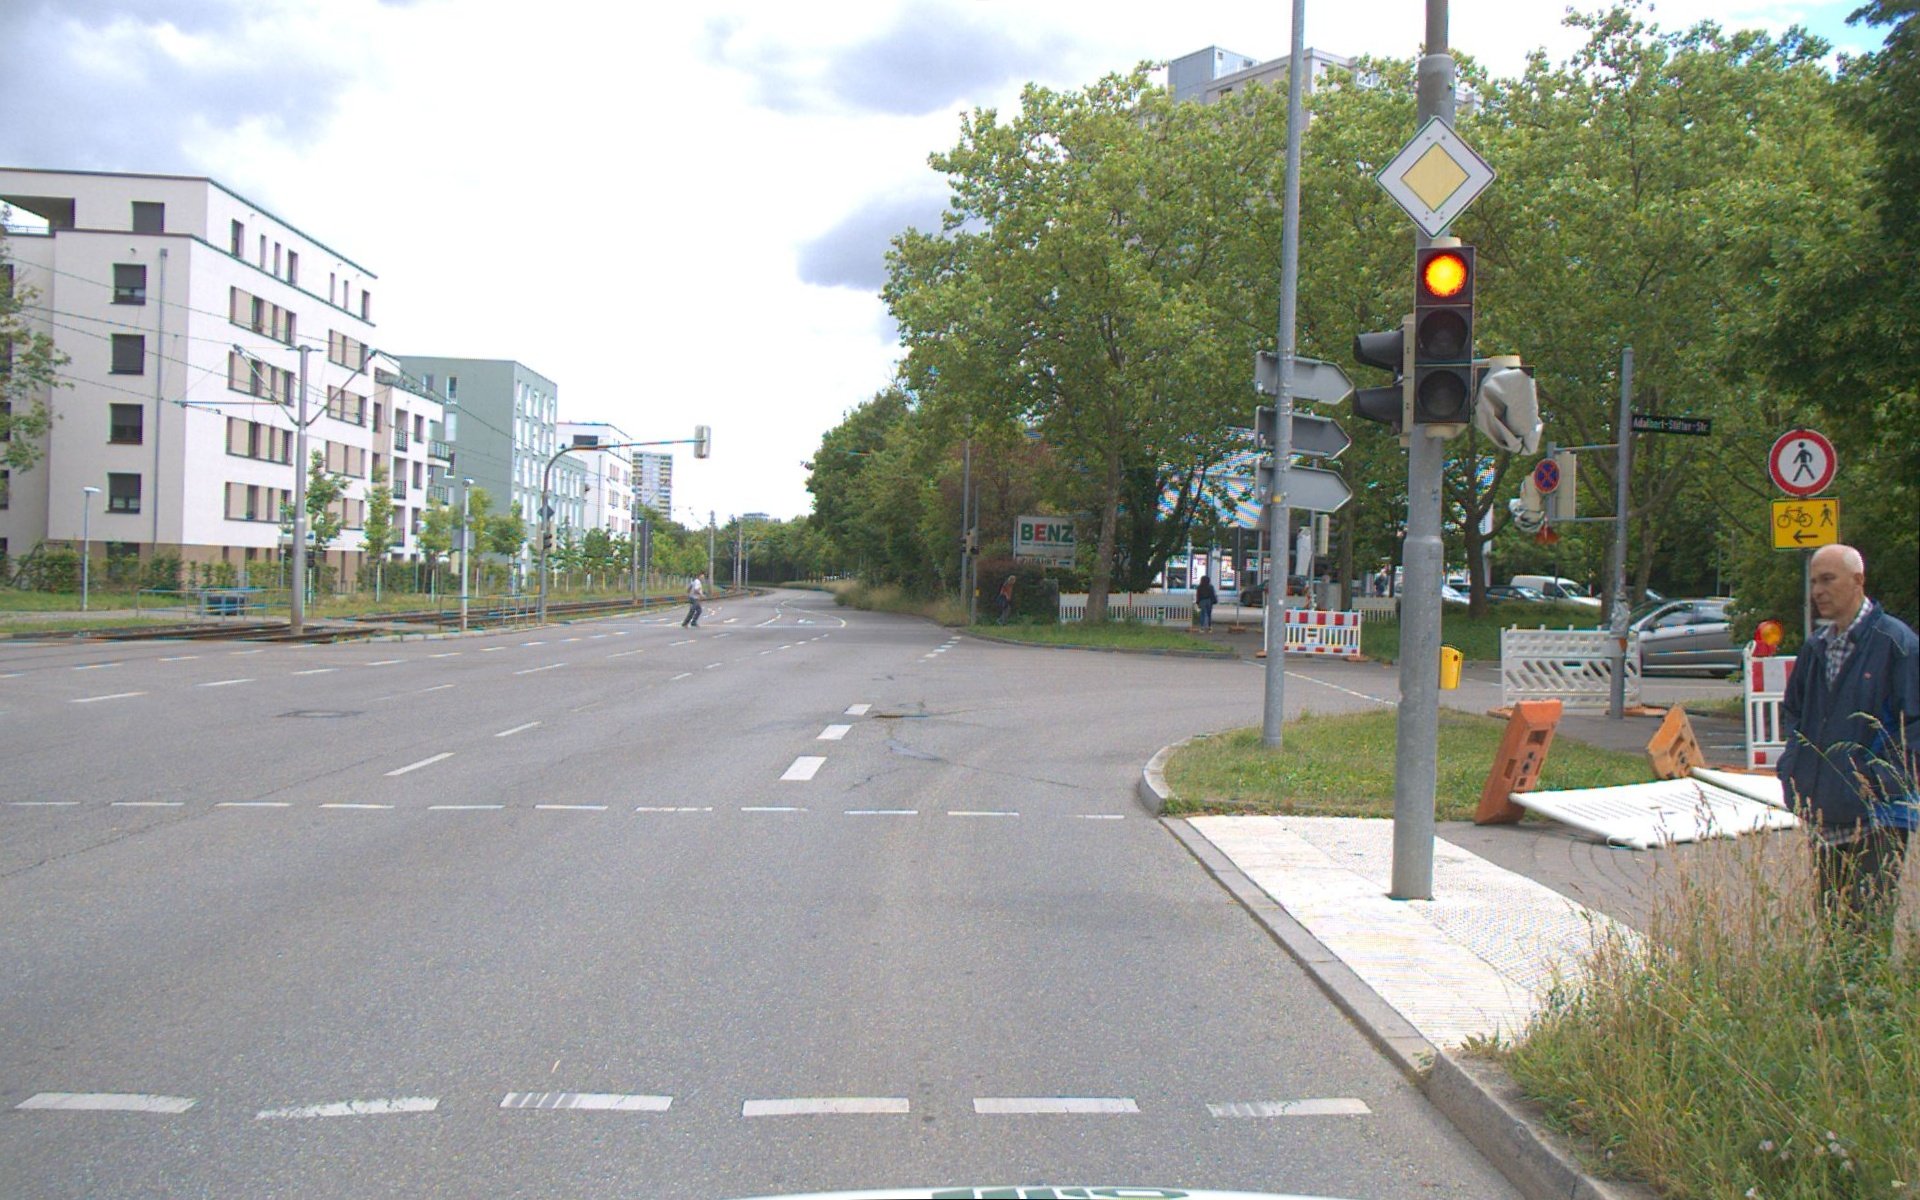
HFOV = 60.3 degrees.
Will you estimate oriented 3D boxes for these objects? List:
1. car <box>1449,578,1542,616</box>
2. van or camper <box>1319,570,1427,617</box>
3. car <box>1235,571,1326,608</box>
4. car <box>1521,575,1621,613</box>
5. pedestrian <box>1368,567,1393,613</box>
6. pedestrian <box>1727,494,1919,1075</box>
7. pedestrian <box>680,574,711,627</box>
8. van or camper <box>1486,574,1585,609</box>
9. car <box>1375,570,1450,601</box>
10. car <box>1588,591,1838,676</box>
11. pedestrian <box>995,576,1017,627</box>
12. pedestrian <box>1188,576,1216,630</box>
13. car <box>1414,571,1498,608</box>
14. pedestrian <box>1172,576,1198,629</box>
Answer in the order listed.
[{"bbox_3d":[21.096,-0.123,65.248,1.464,1.429,3.375,1,0,-30],"label":"car"},{"bbox_3d":[15.490,-0.259,62.227,1.819,1.713,3.964,0,1,-28],"label":"van or camper"},{"bbox_3d":[14.061,-0.447,72.723,1.708,1.526,4.232,1,0,-27],"label":"car"},{"bbox_3d":[25.541,-0.253,69.245,1.465,1.491,3.851,1,0,-31],"label":"car"},{"bbox_3d":[18.654,-0.429,73.376,0.789,2.037,0.852,1,-1,-5],"label":"pedestrian"},{"bbox_3d":[3.099,0.559,5.536,0.715,1.770,0.951,1,0,41],"label":"pedestrian"},{"bbox_3d":[-8.184,0.017,51.213,0.831,1.614,0.796,1,-1,-2],"label":"pedestrian"},{"bbox_3d":[23.594,-0.342,67.879,1.499,1.380,3.732,1,0,-33],"label":"van or camper"},{"bbox_3d":[21.467,-0.689,78.548,1.465,1.429,3.372,1,0,-31],"label":"car"},{"bbox_3d":[15.348,0.675,33.855,4.307,1.614,1.772,1,0,0],"label":"car"},{"bbox_3d":[1.445,0.041,51.878,0.639,1.565,0.773,1,-1,2],"label":"pedestrian"},{"bbox_3d":[6.932,0.085,47.341,0.703,1.515,0.700,1,-1,3],"label":"pedestrian"},{"bbox_3d":[24.052,-0.501,80.246,1.650,1.663,3.783,1,1,-31],"label":"car"},{"bbox_3d":[6.578,0.075,48.412,0.671,1.515,0.700,1,-1,2],"label":"pedestrian"}]
